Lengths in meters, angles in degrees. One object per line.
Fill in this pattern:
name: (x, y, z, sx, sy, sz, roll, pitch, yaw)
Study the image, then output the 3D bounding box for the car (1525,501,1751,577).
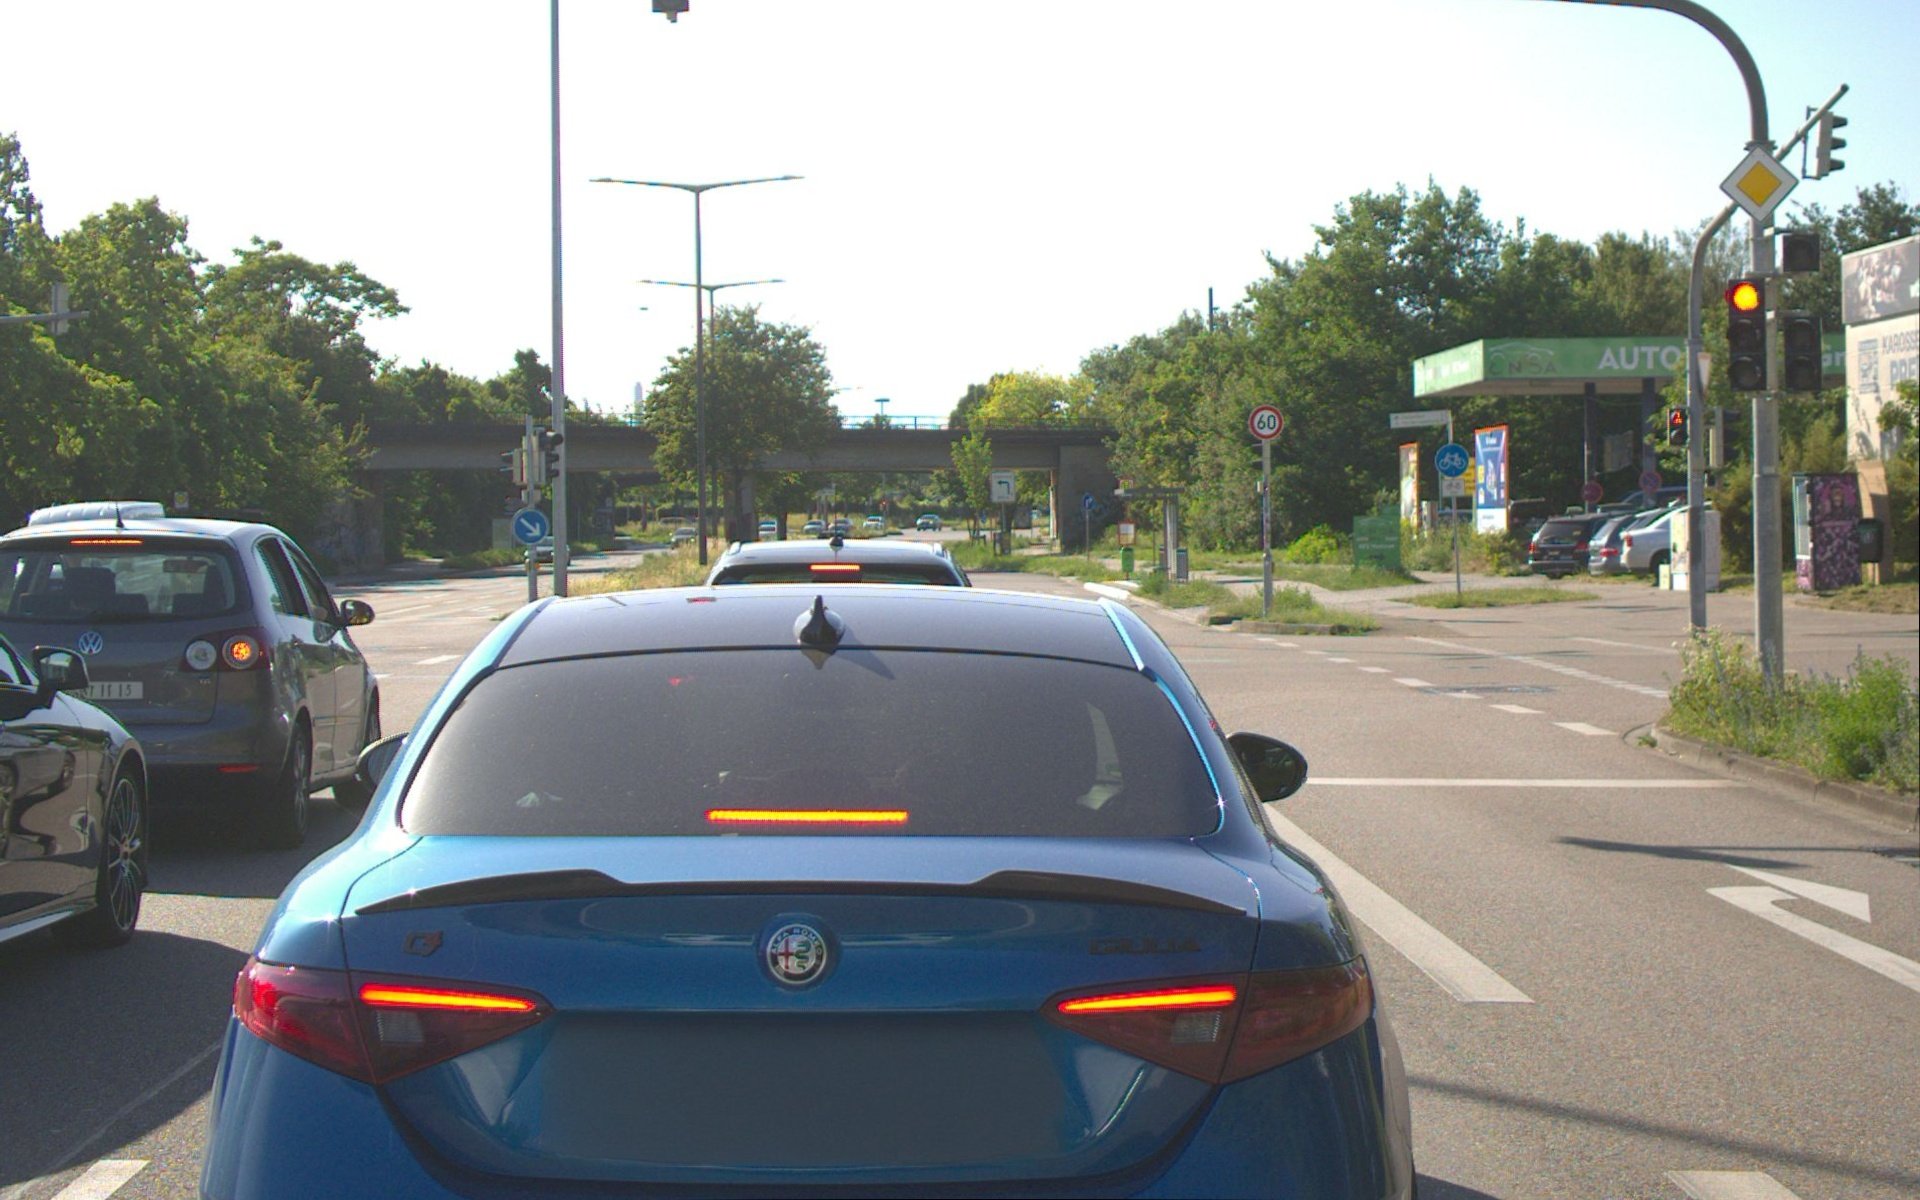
car: (14.596, -1.315, 74.152, 4.489, 1.449, 1.858, -2, 1, 1)

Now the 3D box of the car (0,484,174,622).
car: (-16.925, -0.910, 66.573, 2.022, 2.439, 5.822, -4, 1, -1)

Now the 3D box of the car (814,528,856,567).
car: (-6.049, -2.519, 166.271, 1.891, 1.809, 4.000, 1, 1, -1)

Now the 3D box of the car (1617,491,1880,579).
car: (14.776, -1.212, 64.569, 4.489, 1.449, 1.858, -2, 1, 1)

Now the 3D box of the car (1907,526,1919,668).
car: (12.259, -0.107, 35.539, 4.411, 1.485, 1.765, -2, 1, 1)

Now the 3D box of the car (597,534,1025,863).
car: (-0.715, 0.410, 17.239, 1.850, 1.413, 4.403, 1, 1, -2)

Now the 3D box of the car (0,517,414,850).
car: (-3.991, 0.353, 17.715, 1.759, 1.485, 4.403, 1, 1, -2)

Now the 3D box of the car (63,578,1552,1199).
car: (-0.259, 0.686, 6.606, 1.895, 1.413, 4.403, 1, 1, -2)

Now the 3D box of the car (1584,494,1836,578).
car: (14.660, -1.250, 67.348, 4.489, 1.449, 1.858, -2, 1, 1)

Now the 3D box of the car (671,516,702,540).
car: (-18.568, -4.878, 233.605, 1.759, 1.485, 4.478, -2, 1, 0)

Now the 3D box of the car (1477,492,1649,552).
car: (17.043, -2.198, 97.315, 4.551, 1.485, 1.765, -2, 1, 1)

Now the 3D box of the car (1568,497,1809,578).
car: (14.816, -1.267, 70.101, 4.489, 1.449, 1.858, -2, 1, 1)

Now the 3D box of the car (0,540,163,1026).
car: (-3.825, 0.547, 10.616, 1.796, 1.485, 4.476, 1, 1, -2)
